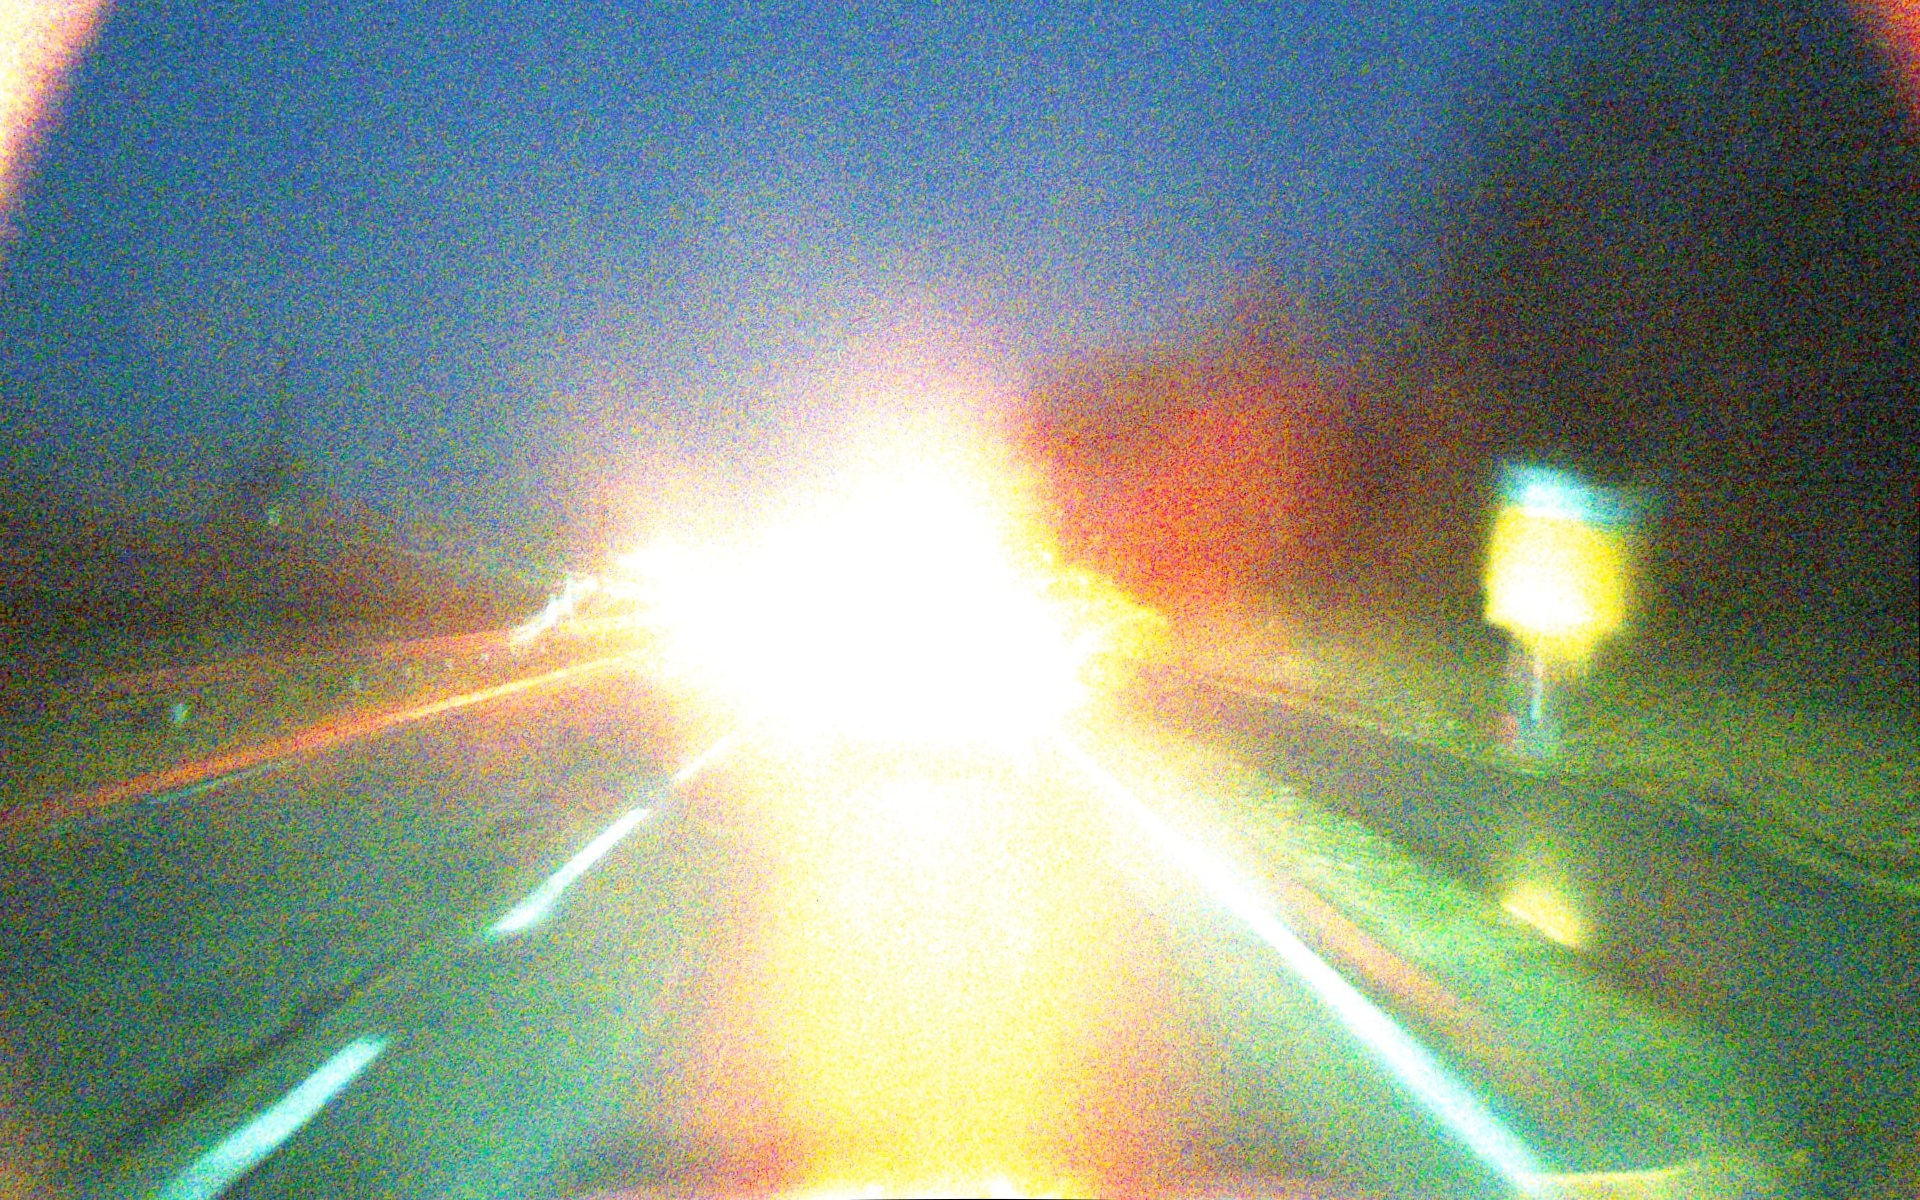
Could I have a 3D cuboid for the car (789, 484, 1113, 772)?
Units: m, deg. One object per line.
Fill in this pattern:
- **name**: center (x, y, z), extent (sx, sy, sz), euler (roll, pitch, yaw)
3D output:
- **car**: center (-0.195, 0.247, 16.901), extent (2.661, 2.348, 6.097), euler (1, 0, -2)
